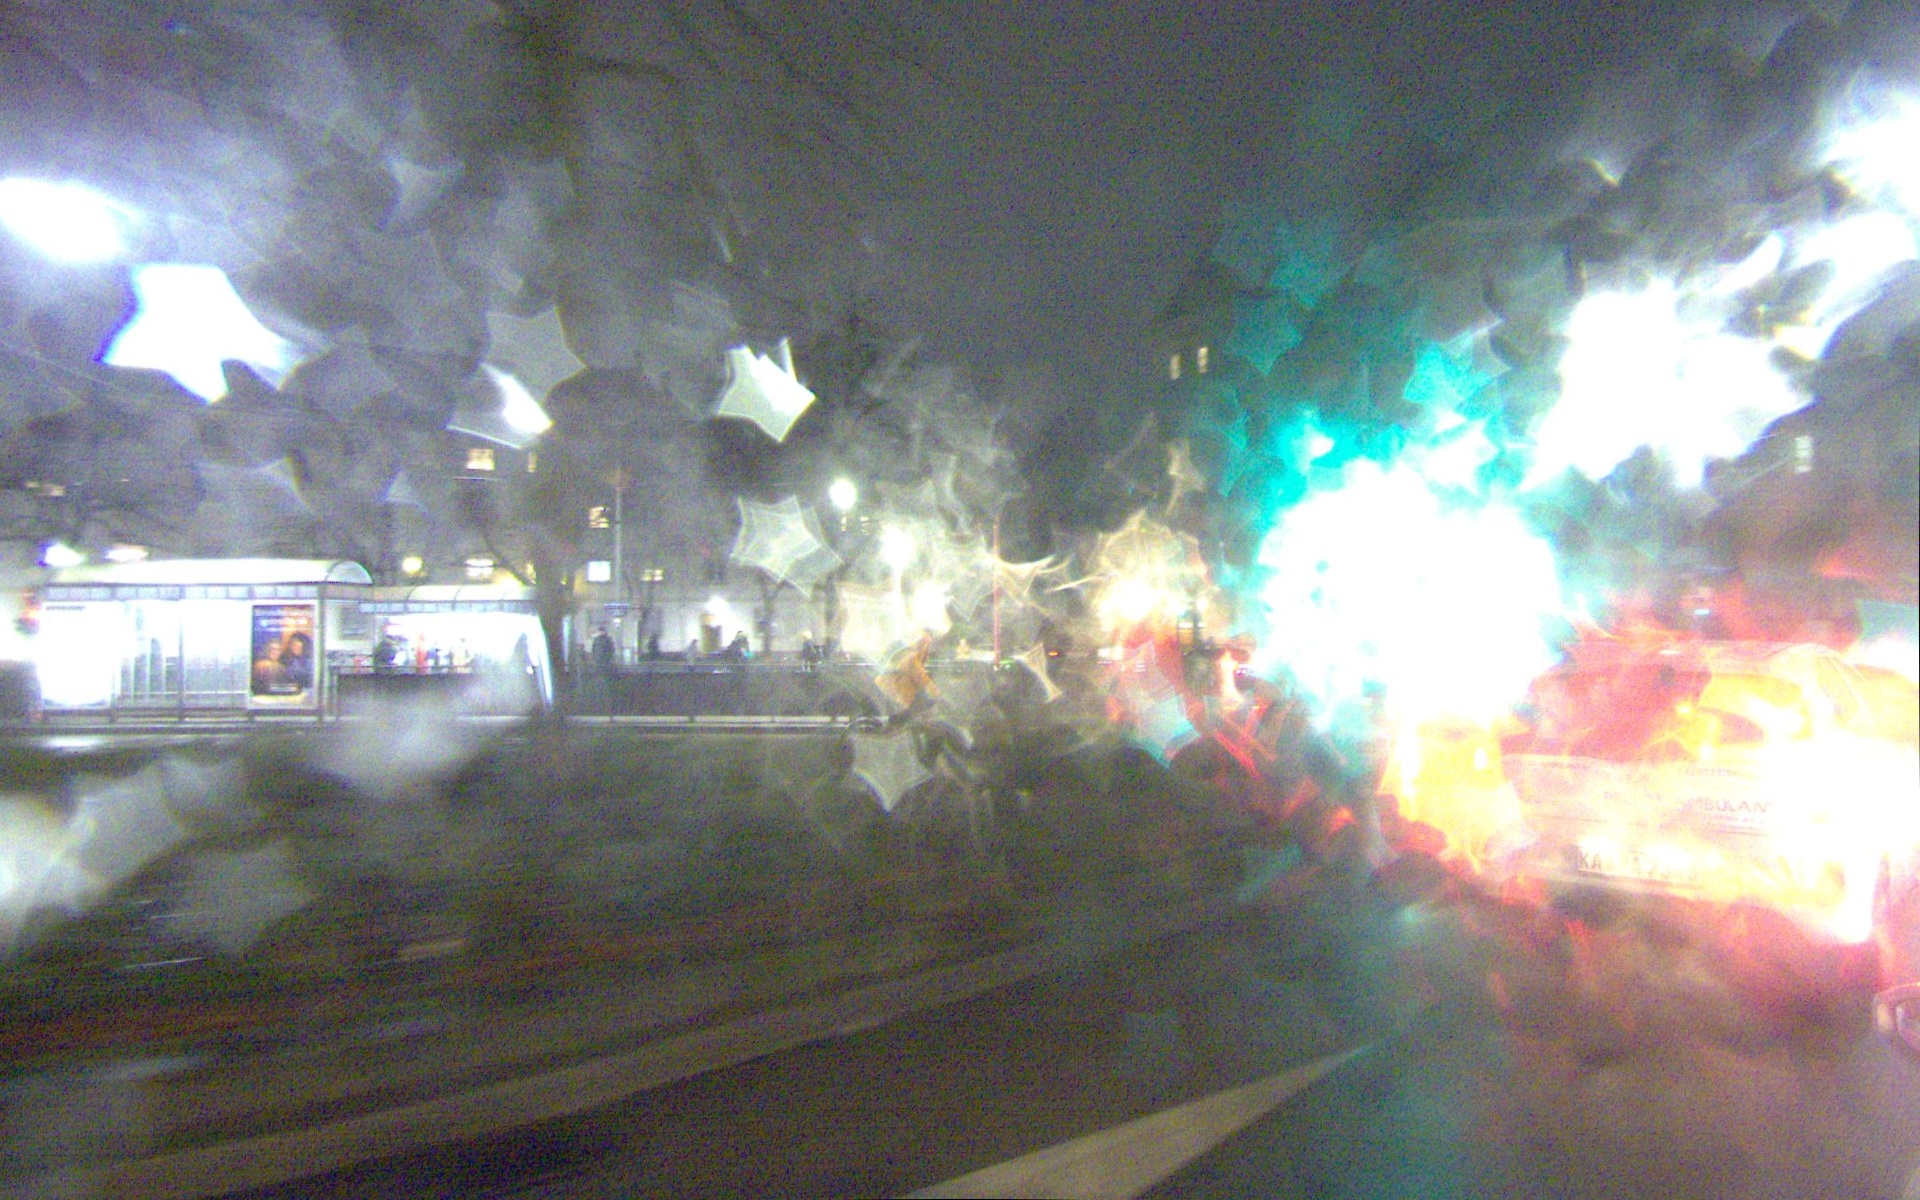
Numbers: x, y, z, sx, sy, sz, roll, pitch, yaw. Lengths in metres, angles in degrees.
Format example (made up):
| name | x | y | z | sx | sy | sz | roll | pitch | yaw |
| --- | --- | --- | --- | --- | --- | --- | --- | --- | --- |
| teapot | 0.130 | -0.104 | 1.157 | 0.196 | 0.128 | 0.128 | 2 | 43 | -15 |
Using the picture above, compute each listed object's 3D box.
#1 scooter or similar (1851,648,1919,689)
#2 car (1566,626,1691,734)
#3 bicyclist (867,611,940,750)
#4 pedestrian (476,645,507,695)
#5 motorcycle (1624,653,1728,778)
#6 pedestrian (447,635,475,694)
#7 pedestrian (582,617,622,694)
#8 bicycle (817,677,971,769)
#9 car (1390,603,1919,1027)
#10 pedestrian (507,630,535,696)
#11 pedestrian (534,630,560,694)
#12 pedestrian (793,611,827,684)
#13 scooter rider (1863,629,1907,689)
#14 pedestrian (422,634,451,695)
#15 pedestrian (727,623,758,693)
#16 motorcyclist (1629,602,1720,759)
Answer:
| name | x | y | z | sx | sy | sz | roll | pitch | yaw |
| --- | --- | --- | --- | --- | --- | --- | --- | --- | --- |
| scooter or similar | 25.504 | 1.871 | 27.628 | 1.341 | 1.066 | 0.642 | 1 | 0 | 14 |
| car | 12.366 | 1.390 | 18.771 | 1.723 | 1.762 | 3.791 | 0 | -1 | 31 |
| bicyclist | -0.667 | 0.920 | 11.709 | 0.801 | 1.568 | 0.571 | 0 | 0 | -8 |
| pedestrian | -12.347 | 1.831 | 26.460 | 0.619 | 1.270 | 0.578 | 0 | 1 | -40 |
| motorcycle | 8.251 | 1.268 | 11.658 | 0.778 | 1.229 | 2.246 | 1 | -1 | 30 |
| pedestrian | -13.355 | 1.715 | 26.875 | 0.576 | 1.548 | 0.478 | 0 | 0 | -14 |
| pedestrian | -9.529 | 1.457 | 26.757 | 0.842 | 2.013 | 0.609 | 1 | 0 | 1 |
| bicycle | -0.775 | 1.410 | 11.690 | 1.748 | 0.982 | 0.571 | 0 | 0 | -8 |
| car | 4.152 | 0.863 | 5.579 | 3.570 | 1.535 | 1.902 | 2 | -3 | -42 |
| pedestrian | -11.508 | 1.647 | 26.329 | 0.555 | 1.674 | 0.578 | 0 | 1 | -40 |
| pedestrian | -10.934 | 1.626 | 26.598 | 0.528 | 1.651 | 0.395 | 0 | 1 | -40 |
| pedestrian | -3.780 | 1.191 | 25.409 | 0.657 | 1.798 | 0.718 | 1 | 0 | 9 |
| scooter rider | 25.436 | 1.608 | 27.642 | 0.639 | 1.594 | 0.642 | 1 | 0 | 14 |
| pedestrian | -13.884 | 1.706 | 26.657 | 0.565 | 1.568 | 0.510 | 0 | 0 | -14 |
| pedestrian | -5.713 | 1.520 | 26.375 | 0.704 | 1.798 | 0.670 | 0 | 0 | -6 |
| motorcyclist | 8.255 | 0.898 | 11.639 | 0.778 | 1.717 | 0.818 | 1 | -1 | 31 |
